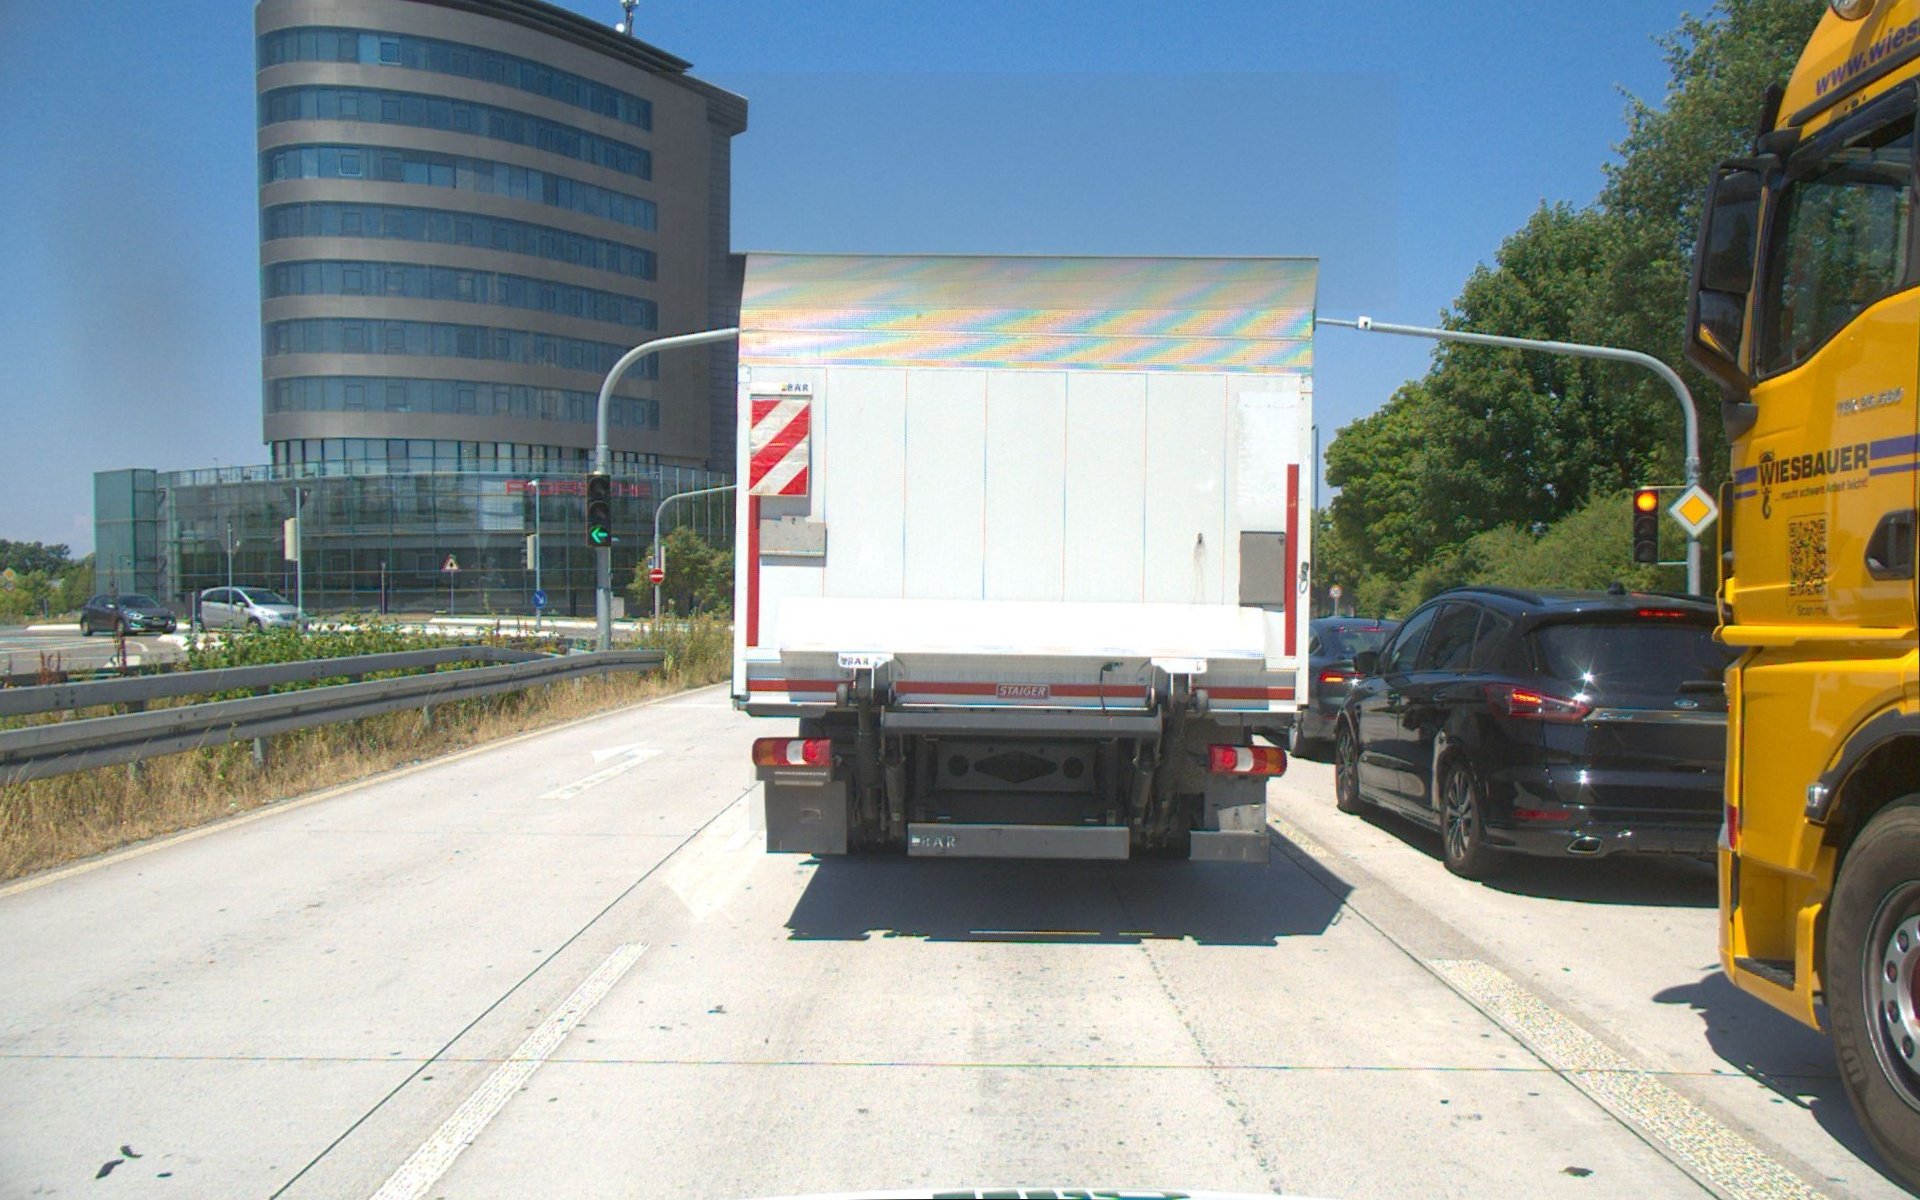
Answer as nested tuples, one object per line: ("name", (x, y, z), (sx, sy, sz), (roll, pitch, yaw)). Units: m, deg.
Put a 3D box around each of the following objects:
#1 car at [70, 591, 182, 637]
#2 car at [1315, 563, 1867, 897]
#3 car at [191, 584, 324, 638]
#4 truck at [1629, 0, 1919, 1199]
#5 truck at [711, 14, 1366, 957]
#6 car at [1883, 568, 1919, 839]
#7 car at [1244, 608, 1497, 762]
("car", (-28.963, 0.500, 57.424), (4.241, 1.482, 1.691), (-2, -2, 35))
("car", (3.703, 0.677, 10.711), (1.747, 1.668, 4.646), (1, 0, -1))
("car", (-22.557, 0.374, 53.093), (4.234, 1.623, 1.773), (-2, -2, 30))
("truck", (3.954, -0.410, 2.083), (2.953, 3.839, 7.466), (1, 0, -2))
("truck", (0.326, -0.450, 11.614), (2.713, 3.927, 9.369), (1, 0, 0))
("car", (7.531, 0.706, 9.314), (1.733, 1.839, 4.788), (1, 0, -4))
("car", (4.285, 0.822, 17.990), (1.731, 1.435, 4.611), (1, 0, 2))
